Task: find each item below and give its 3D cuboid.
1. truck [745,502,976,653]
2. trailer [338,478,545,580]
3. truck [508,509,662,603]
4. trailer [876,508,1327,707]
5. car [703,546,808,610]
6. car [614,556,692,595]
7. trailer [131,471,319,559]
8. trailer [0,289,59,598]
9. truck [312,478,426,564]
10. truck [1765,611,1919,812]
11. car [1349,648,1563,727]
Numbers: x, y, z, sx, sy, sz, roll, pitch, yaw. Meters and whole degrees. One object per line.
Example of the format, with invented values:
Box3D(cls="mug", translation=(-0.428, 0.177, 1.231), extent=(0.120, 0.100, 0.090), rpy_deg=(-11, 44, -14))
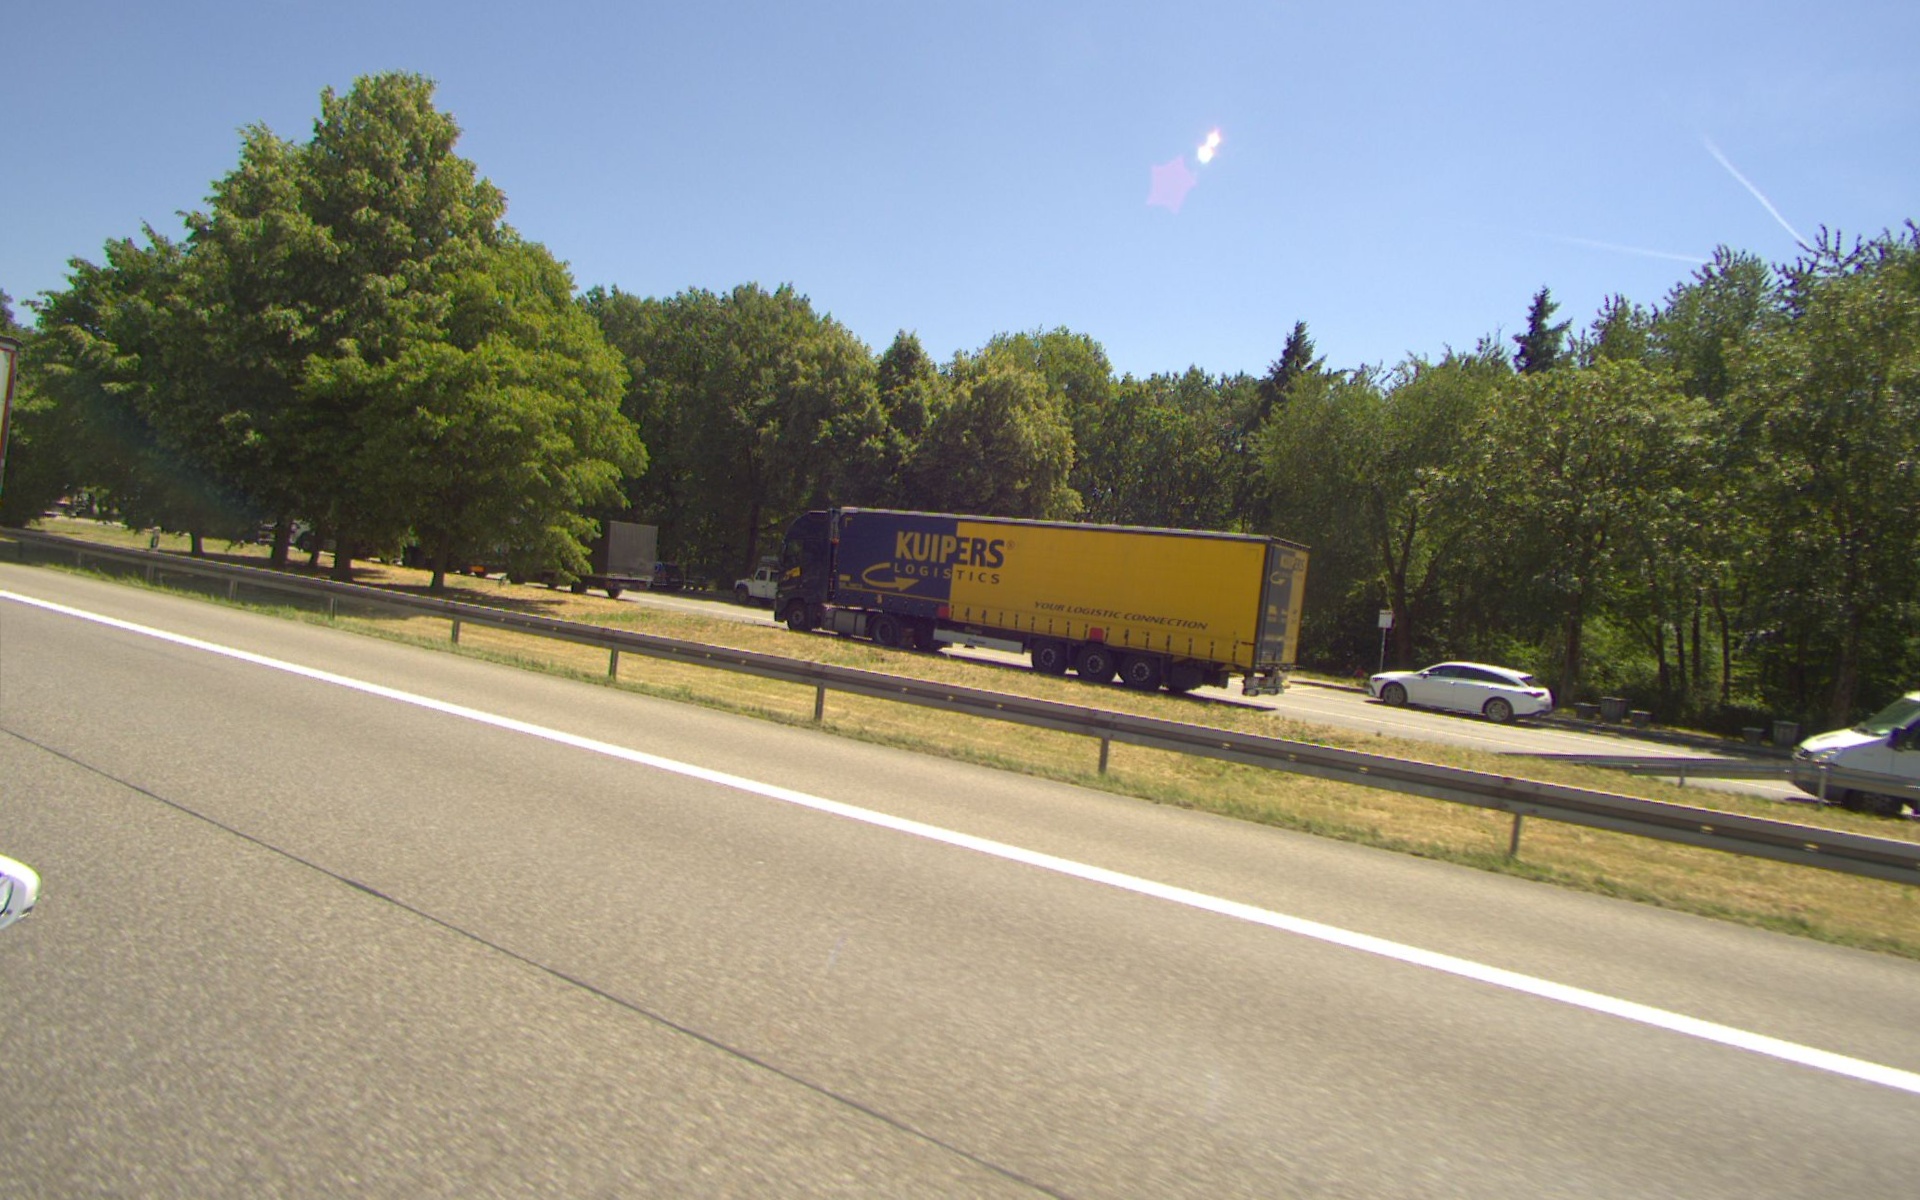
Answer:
Box3D(cls="truck", translation=(-3.212, -0.755, 31.690), extent=(6.519, 3.983, 3.182), rpy_deg=(6, 0, 39))
Box3D(cls="trailer", translation=(-25.236, -3.550, 48.392), extent=(13.158, 3.835, 3.103), rpy_deg=(6, -1, 37))
Box3D(cls="truck", translation=(-15.391, -1.853, 41.103), extent=(6.516, 3.123, 2.469), rpy_deg=(6, -1, 37))
Box3D(cls="trailer", translation=(3.241, -0.020, 26.577), extent=(11.377, 3.983, 3.183), rpy_deg=(6, 0, 38))
Box3D(cls="car", translation=(-9.662, -1.051, 47.374), extent=(4.706, 2.470, 1.993), rpy_deg=(7, 1, 36))
Box3D(cls="car", translation=(-16.135, -1.295, 52.799), extent=(3.940, 1.566, 1.841), rpy_deg=(7, 0, 38))
Box3D(cls="trailer", translation=(-43.326, -5.082, 59.024), extent=(13.953, 4.002, 3.140), rpy_deg=(7, 1, 29))
Box3D(cls="trailer", translation=(-20.301, -3.038, 17.663), extent=(11.850, 4.685, 3.185), rpy_deg=(7, 0, 32))
Box3D(cls="truck", translation=(-31.010, -4.168, 52.766), extent=(5.237, 3.835, 3.089), rpy_deg=(6, -1, 38))
Box3D(cls="truck", translation=(17.518, 2.107, 15.478), extent=(7.535, 2.982, 2.470), rpy_deg=(6, 0, 33))
Box3D(cls="car", translation=(13.806, 2.393, 28.200), extent=(4.962, 1.469, 1.991), rpy_deg=(6, 0, 41))
